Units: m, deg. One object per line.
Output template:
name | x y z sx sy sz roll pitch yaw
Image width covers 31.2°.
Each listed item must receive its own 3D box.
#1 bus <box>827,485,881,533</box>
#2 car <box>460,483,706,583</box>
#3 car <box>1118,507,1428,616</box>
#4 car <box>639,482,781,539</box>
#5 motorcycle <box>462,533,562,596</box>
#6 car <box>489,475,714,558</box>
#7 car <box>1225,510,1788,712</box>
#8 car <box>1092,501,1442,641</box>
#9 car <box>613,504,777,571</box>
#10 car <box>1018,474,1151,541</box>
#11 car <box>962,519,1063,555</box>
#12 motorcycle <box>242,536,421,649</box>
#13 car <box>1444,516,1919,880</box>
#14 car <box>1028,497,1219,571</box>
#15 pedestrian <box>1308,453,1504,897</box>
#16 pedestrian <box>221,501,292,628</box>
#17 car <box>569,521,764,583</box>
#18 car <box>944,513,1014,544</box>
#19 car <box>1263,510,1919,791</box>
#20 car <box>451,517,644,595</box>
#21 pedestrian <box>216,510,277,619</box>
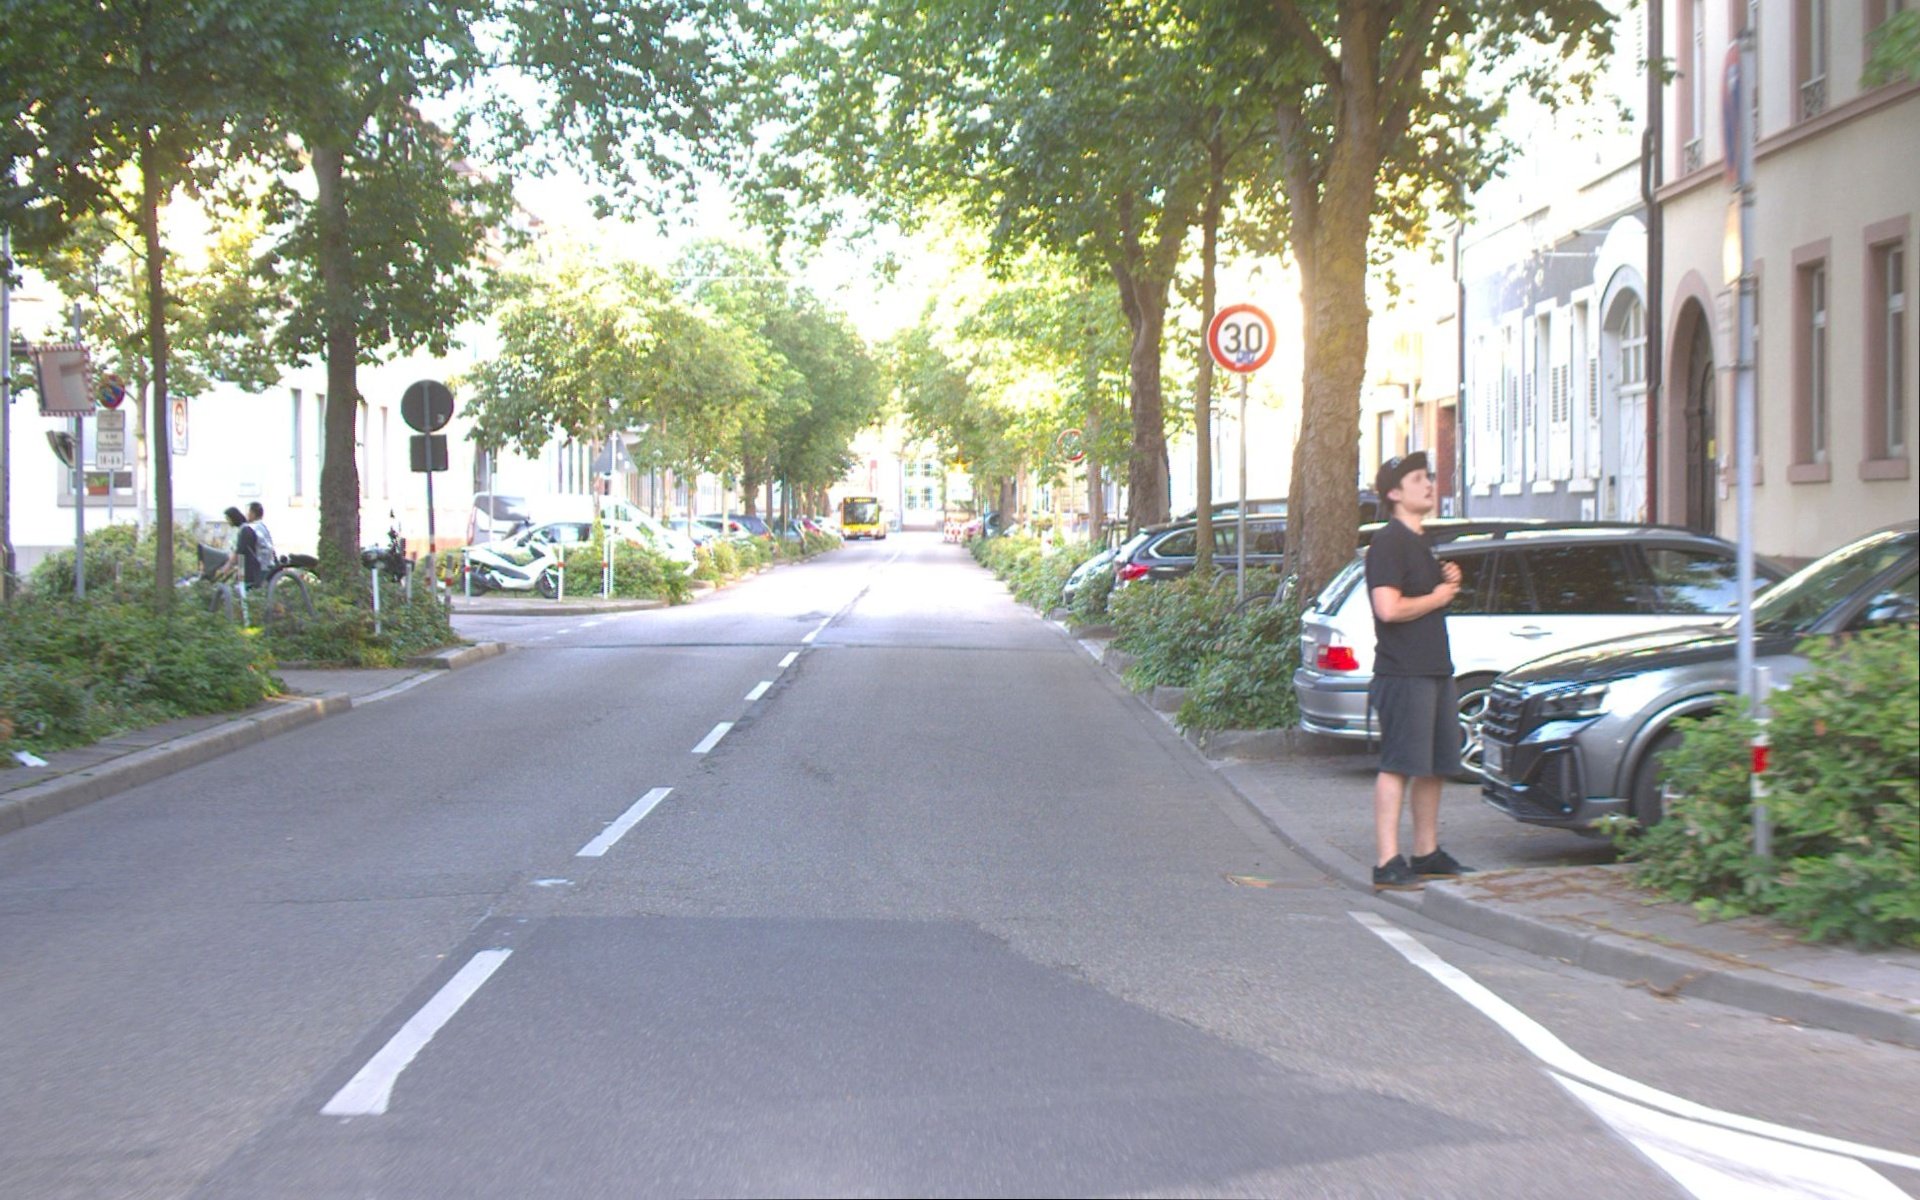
bus | -7.193 -6.167 231.854 3.027 3.179 9.405 0 2 -6
car | -8.100 -1.460 74.197 5.064 2.076 2.263 0 2 0
car | 4.225 -0.543 46.800 4.014 1.414 1.781 -1 2 -1
car | -9.253 -3.327 127.406 5.064 2.076 2.263 0 2 1
motorcycle | -7.766 -0.614 59.623 1.636 1.064 0.656 1 2 0
car | -8.503 -1.996 81.968 5.064 1.817 2.263 0 4 2
car | 4.129 0.060 26.415 4.014 1.475 1.781 0 2 -1
car | 3.653 -0.366 41.348 4.014 1.617 1.781 -1 2 -1
car | -8.492 -2.024 110.521 5.064 2.076 2.263 0 2 1
car | 3.813 -2.815 104.843 3.987 2.007 2.000 0 1 3
car | 2.110 -2.562 139.485 3.986 1.437 1.697 -1 2 -2
motorcycle | -7.127 -0.088 39.021 1.919 1.254 0.591 0 2 0
car | 4.364 0.394 15.328 4.107 1.485 1.850 0 2 -1
car | 3.992 -1.636 84.357 4.593 1.755 2.222 0 2 1
pedestrian | 1.915 0.316 14.835 0.794 1.862 0.751 0 -1 5
pedestrian | -9.295 -0.482 45.445 0.718 1.658 0.838 0 2 2
car | -8.013 -1.322 94.275 5.064 1.611 2.263 0 2 3
car | 1.131 -4.322 206.887 3.988 1.831 2.000 0 2 7
car | 3.986 0.261 20.293 4.192 1.475 1.852 -1 2 0
car | -8.224 -0.889 68.815 3.725 1.503 1.873 -1 2 -4
pedestrian | -9.244 -0.462 44.548 0.655 1.390 0.607 1 1 0
